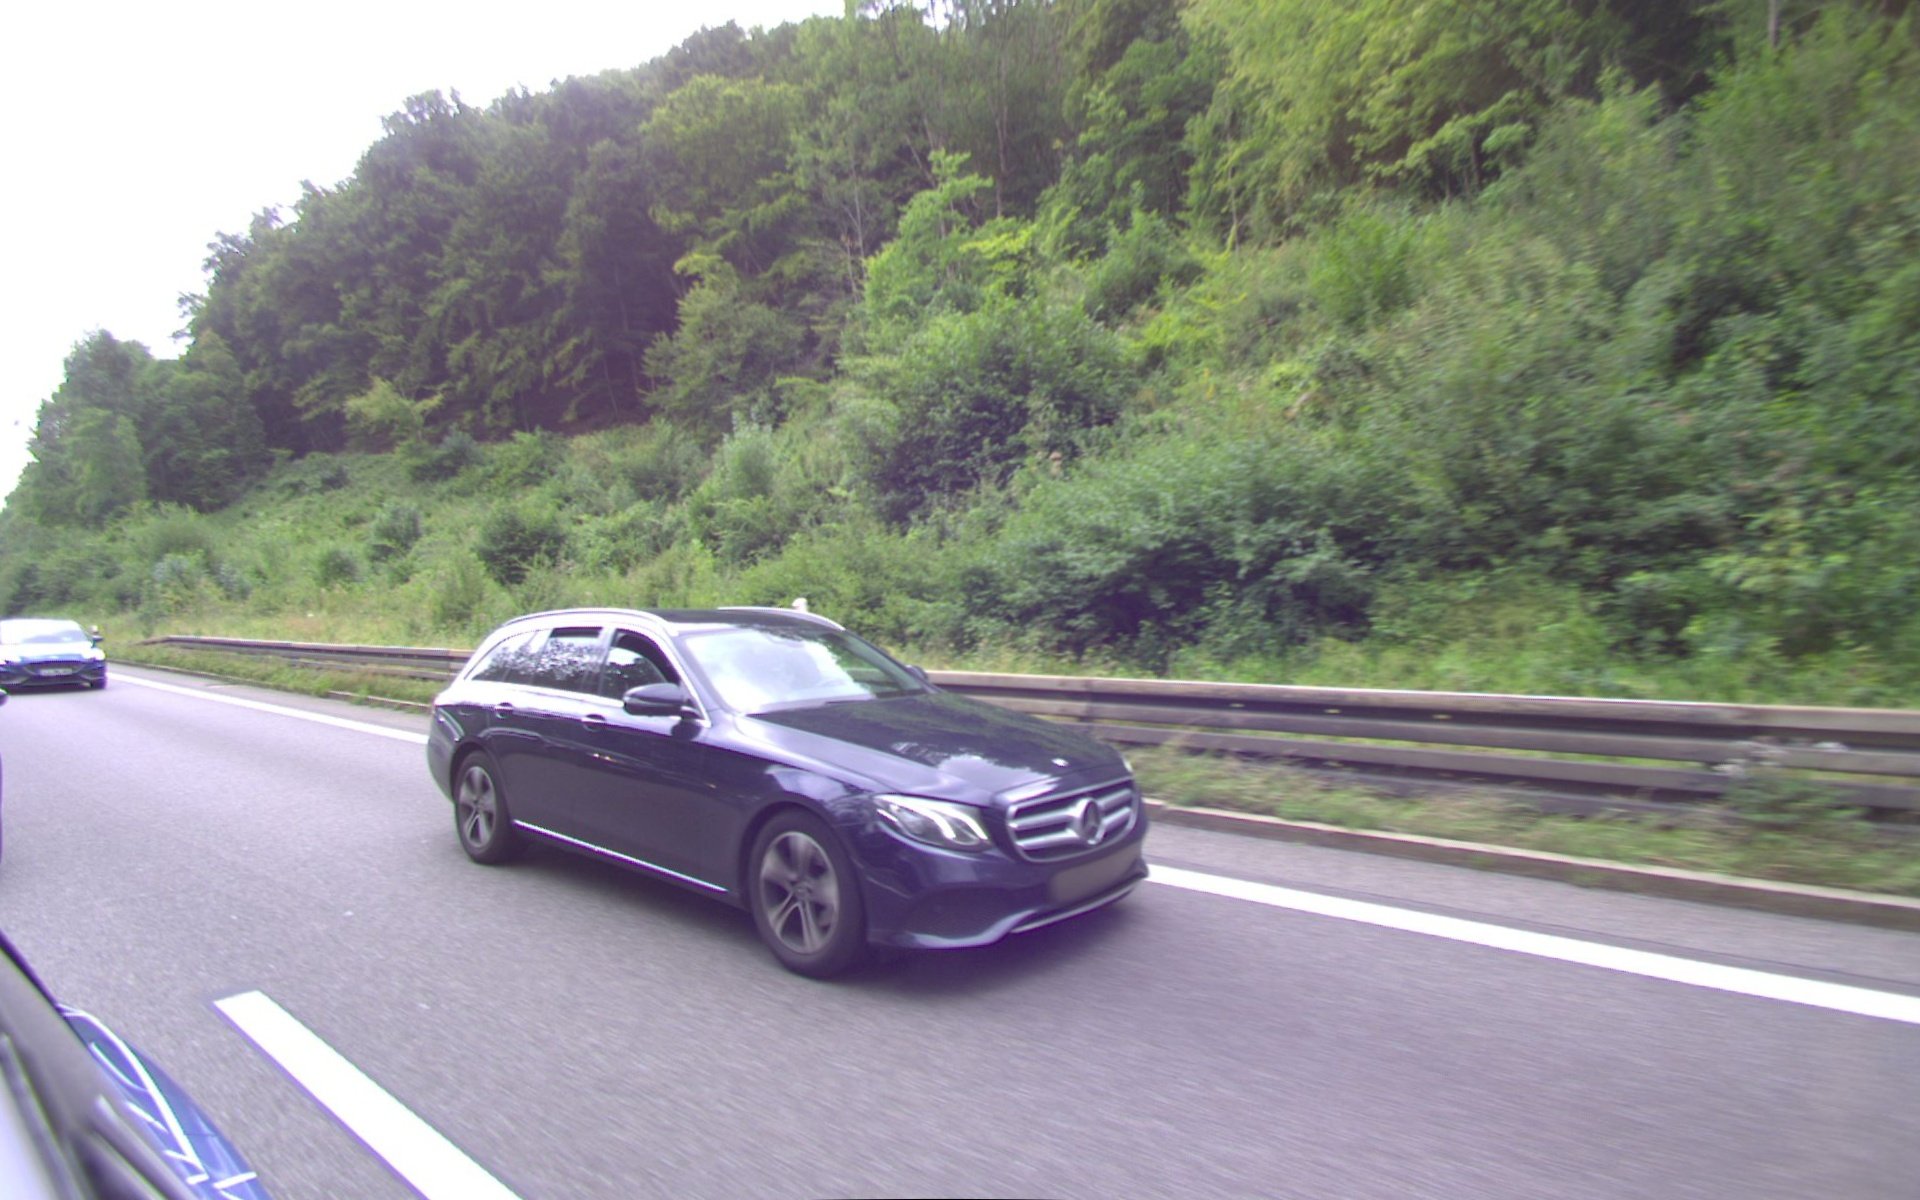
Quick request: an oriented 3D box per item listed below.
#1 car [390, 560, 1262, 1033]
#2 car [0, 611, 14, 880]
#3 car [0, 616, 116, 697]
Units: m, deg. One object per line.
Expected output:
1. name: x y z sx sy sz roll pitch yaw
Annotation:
1. car: -1.171 0.669 5.507 5.119 1.474 1.742 -2 -1 41
2. car: -7.287 0.838 6.238 4.399 1.428 1.728 -2 -1 42
3. car: -19.287 1.112 21.131 4.552 1.480 1.817 -1 0 40
